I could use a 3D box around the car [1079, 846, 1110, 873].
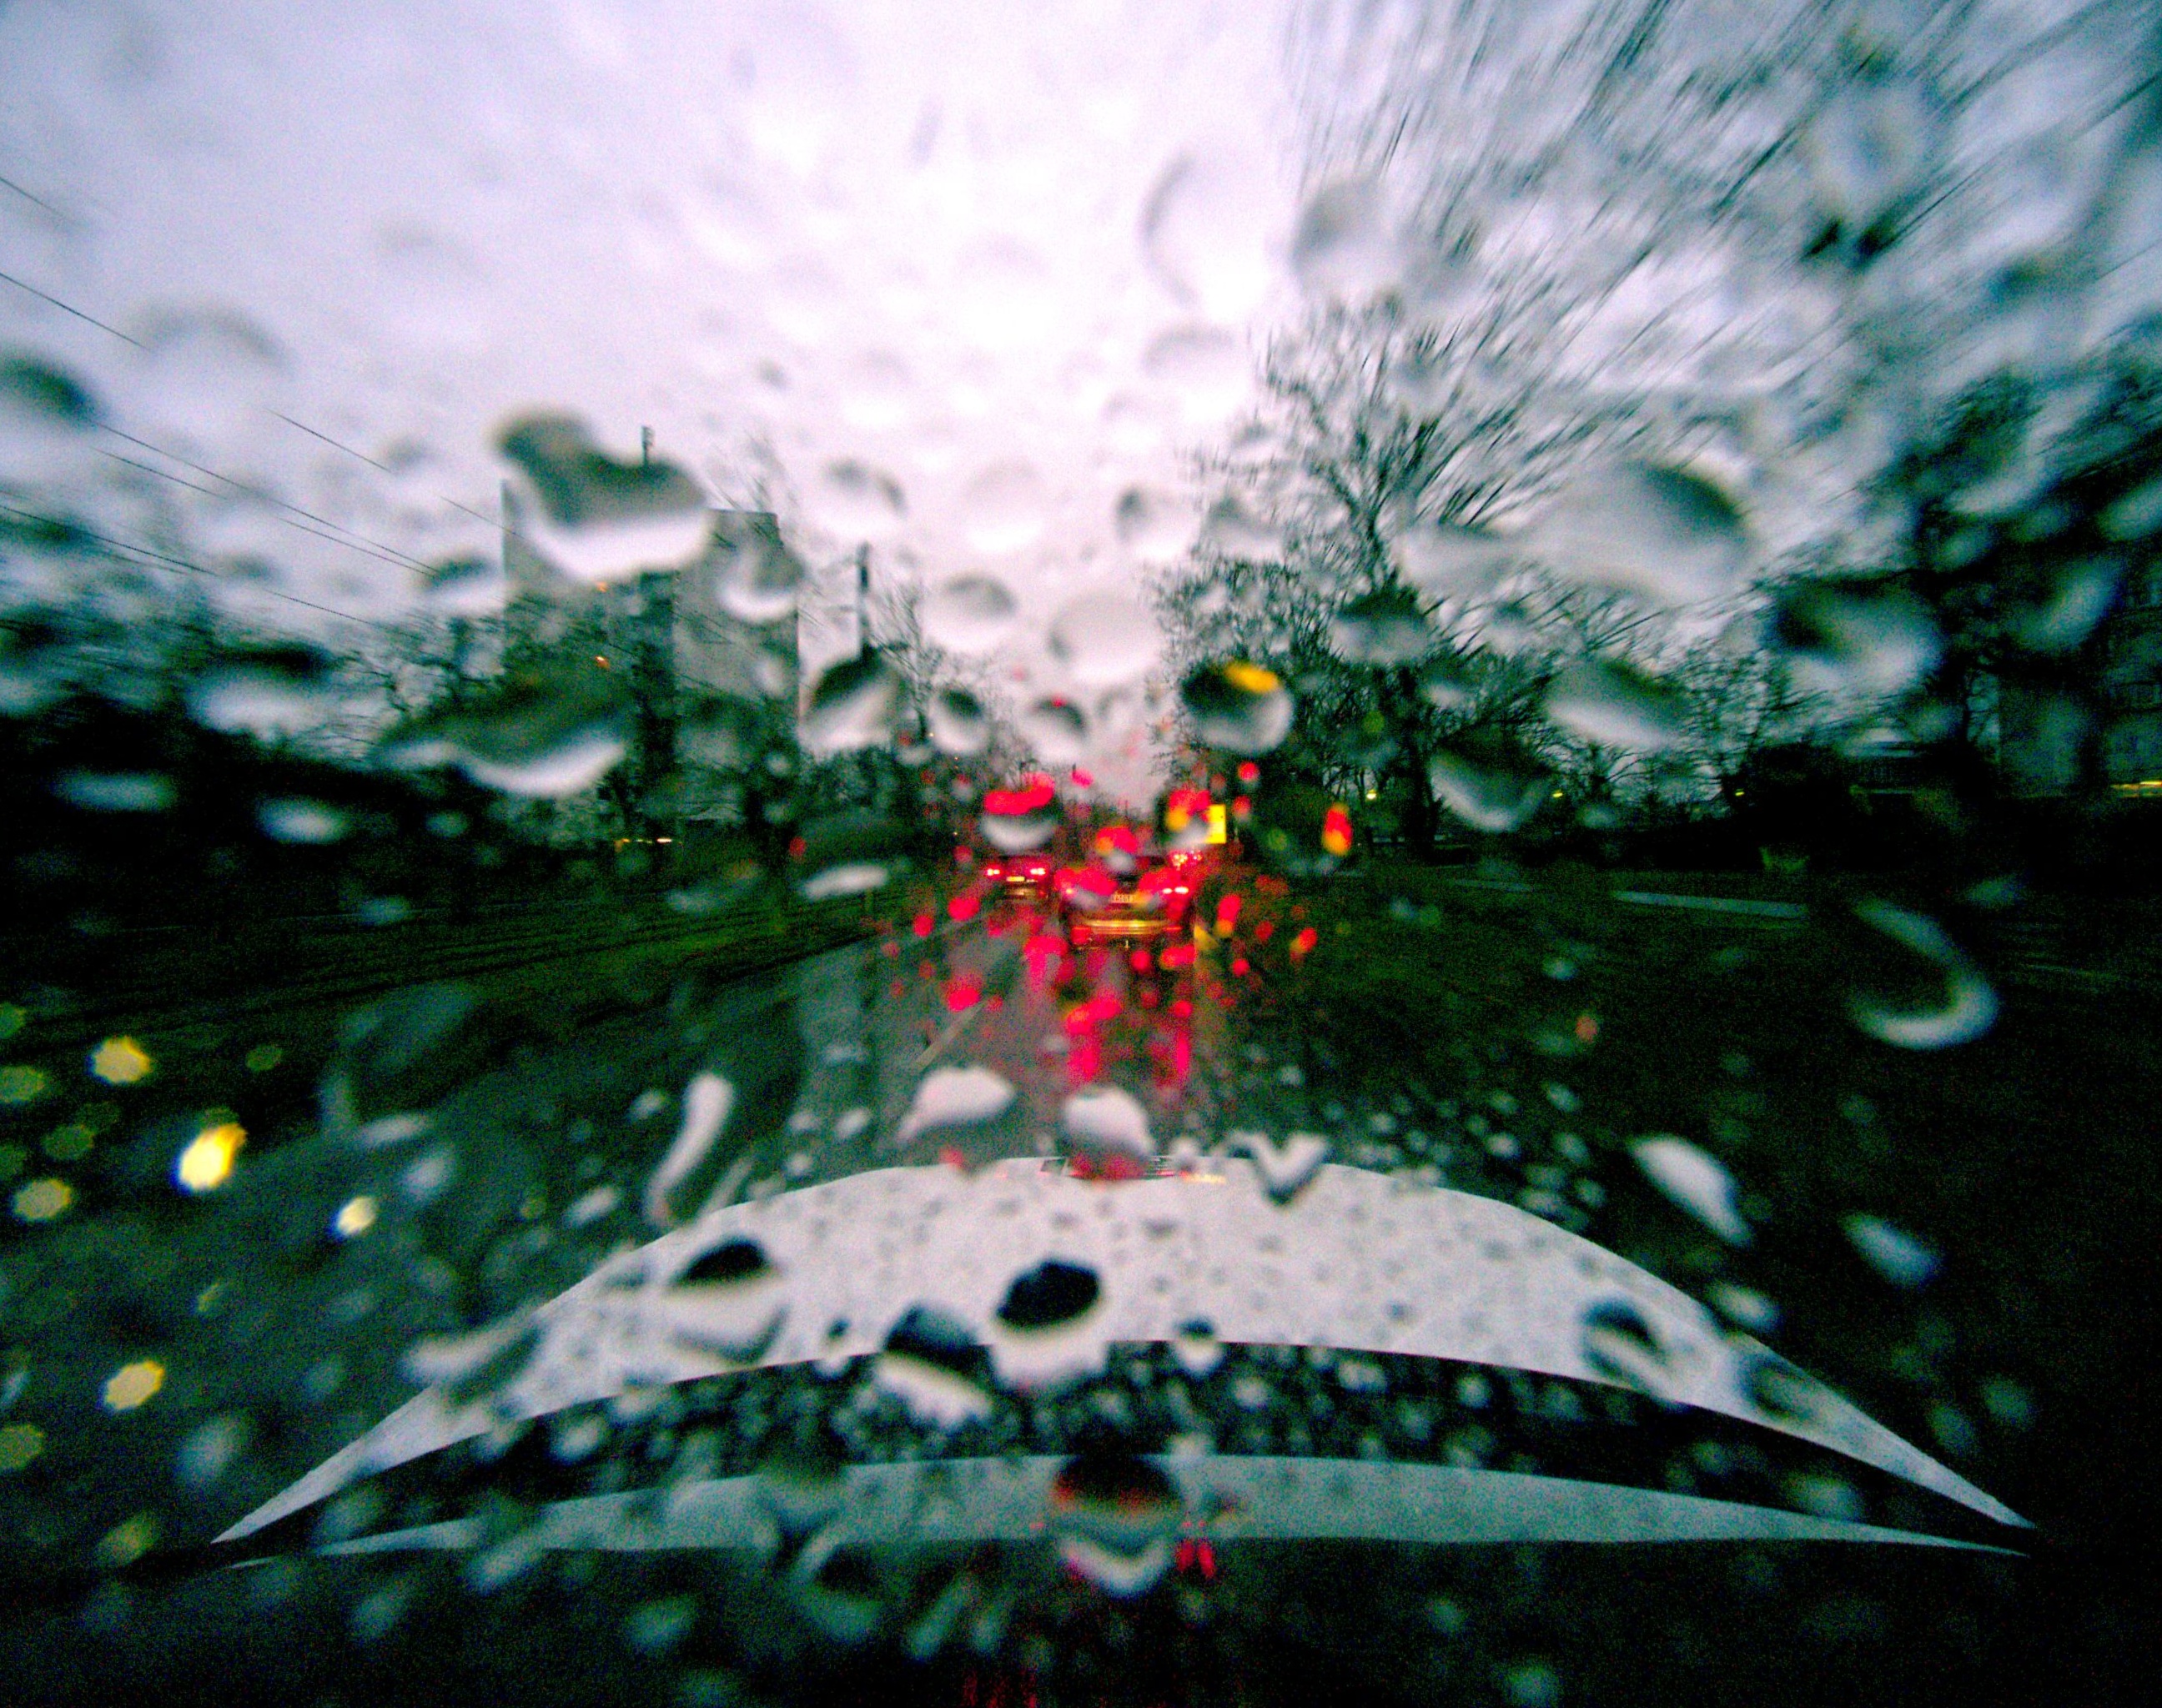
[{"bbox_3d":[0.879,0.336,52.199,1.873,1.593,4.002,-1,0,2],"label":"car"}]

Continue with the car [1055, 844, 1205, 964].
[{"bbox_3d":[0.685,0.656,12.869,1.991,1.584,4.001,0,0,1],"label":"car"}]

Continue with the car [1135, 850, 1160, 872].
[{"bbox_3d":[4.922,0.480,59.934,1.700,1.558,4.002,-1,0,5],"label":"car"}]

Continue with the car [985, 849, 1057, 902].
[{"bbox_3d":[-1.750,0.607,25.015,1.874,1.459,4.000,-1,0,0],"label":"car"}]

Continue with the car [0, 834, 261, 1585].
[{"bbox_3d":[-3.169,0.733,0.133,1.701,1.525,4.139,-1,0,4],"label":"car"}]
